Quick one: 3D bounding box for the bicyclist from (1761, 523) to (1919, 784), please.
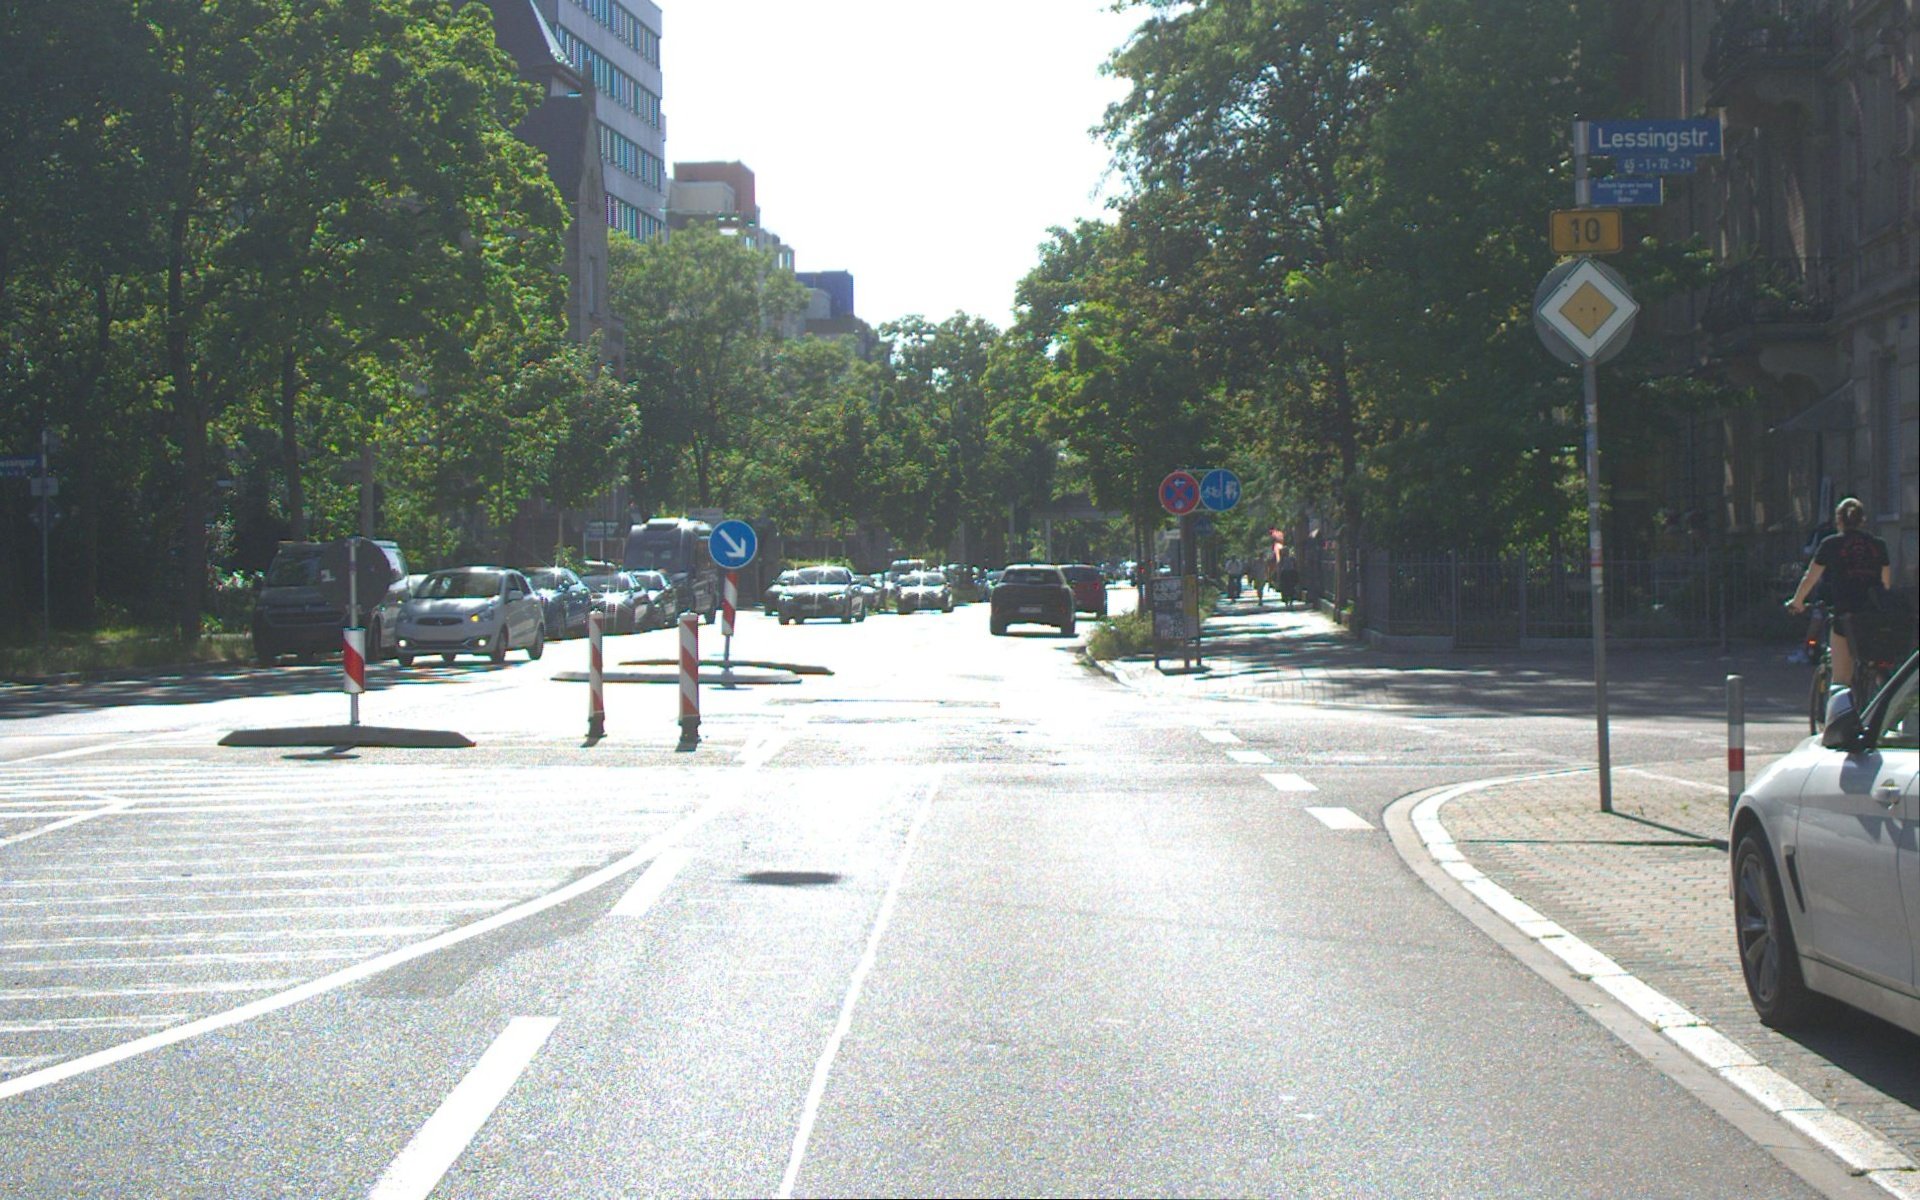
[{"bbox_3d":[5.523,0.315,21.538,0.741,1.574,1.100,1,2,1],"label":"bicyclist"}]

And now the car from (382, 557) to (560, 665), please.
[{"bbox_3d":[-7.546,0.139,53.423,1.759,1.514,3.858,-1,2,7],"label":"car"}]

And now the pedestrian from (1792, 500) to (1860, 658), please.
[{"bbox_3d":[10.087,-0.236,40.052,0.656,1.810,0.751,0,-2,5],"label":"pedestrian"}]

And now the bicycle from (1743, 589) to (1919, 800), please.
[{"bbox_3d":[5.518,0.563,21.598,0.741,1.215,1.960,-2,1,1],"label":"bicycle"}]

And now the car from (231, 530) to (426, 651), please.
[{"bbox_3d":[-10.487,-0.189,57.450,2.199,1.923,4.862,0,1,2],"label":"car"}]

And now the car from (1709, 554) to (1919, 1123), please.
[{"bbox_3d":[3.299,0.594,9.202,1.709,1.420,4.206,-2,1,1],"label":"car"}]

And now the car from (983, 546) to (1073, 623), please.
[{"bbox_3d":[1.480,-0.363,76.078,1.894,1.514,4.000,2,2,1],"label":"car"}]

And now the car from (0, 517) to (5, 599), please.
[{"bbox_3d":[-20.949,-0.876,71.076,1.974,1.656,4.001,0,1,-20],"label":"car"}]

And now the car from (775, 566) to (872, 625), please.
[{"bbox_3d":[-3.439,-0.117,87.560,1.784,1.455,4.414,0,0,7],"label":"car"}]

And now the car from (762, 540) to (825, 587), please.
[{"bbox_3d":[-5.389,-1.192,111.921,1.802,1.499,3.808,0,1,1],"label":"car"}]

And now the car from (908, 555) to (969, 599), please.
[{"bbox_3d":[-0.743,-0.824,120.905,1.639,1.514,4.029,0,1,7],"label":"car"}]

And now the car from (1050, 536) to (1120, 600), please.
[{"bbox_3d":[3.498,-0.897,95.509,1.819,1.734,4.000,0,1,4],"label":"car"}]

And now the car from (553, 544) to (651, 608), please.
[{"bbox_3d":[-8.179,-0.573,78.671,1.524,1.427,3.336,0,1,7],"label":"car"}]

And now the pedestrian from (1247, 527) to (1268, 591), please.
[{"bbox_3d":[9.328,-1.298,107.862,0.614,2.007,0.681,0,1,0],"label":"pedestrian"}]

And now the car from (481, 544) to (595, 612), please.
[{"bbox_3d":[-9.047,-0.490,73.917,1.524,1.427,3.552,0,1,9],"label":"car"}]
